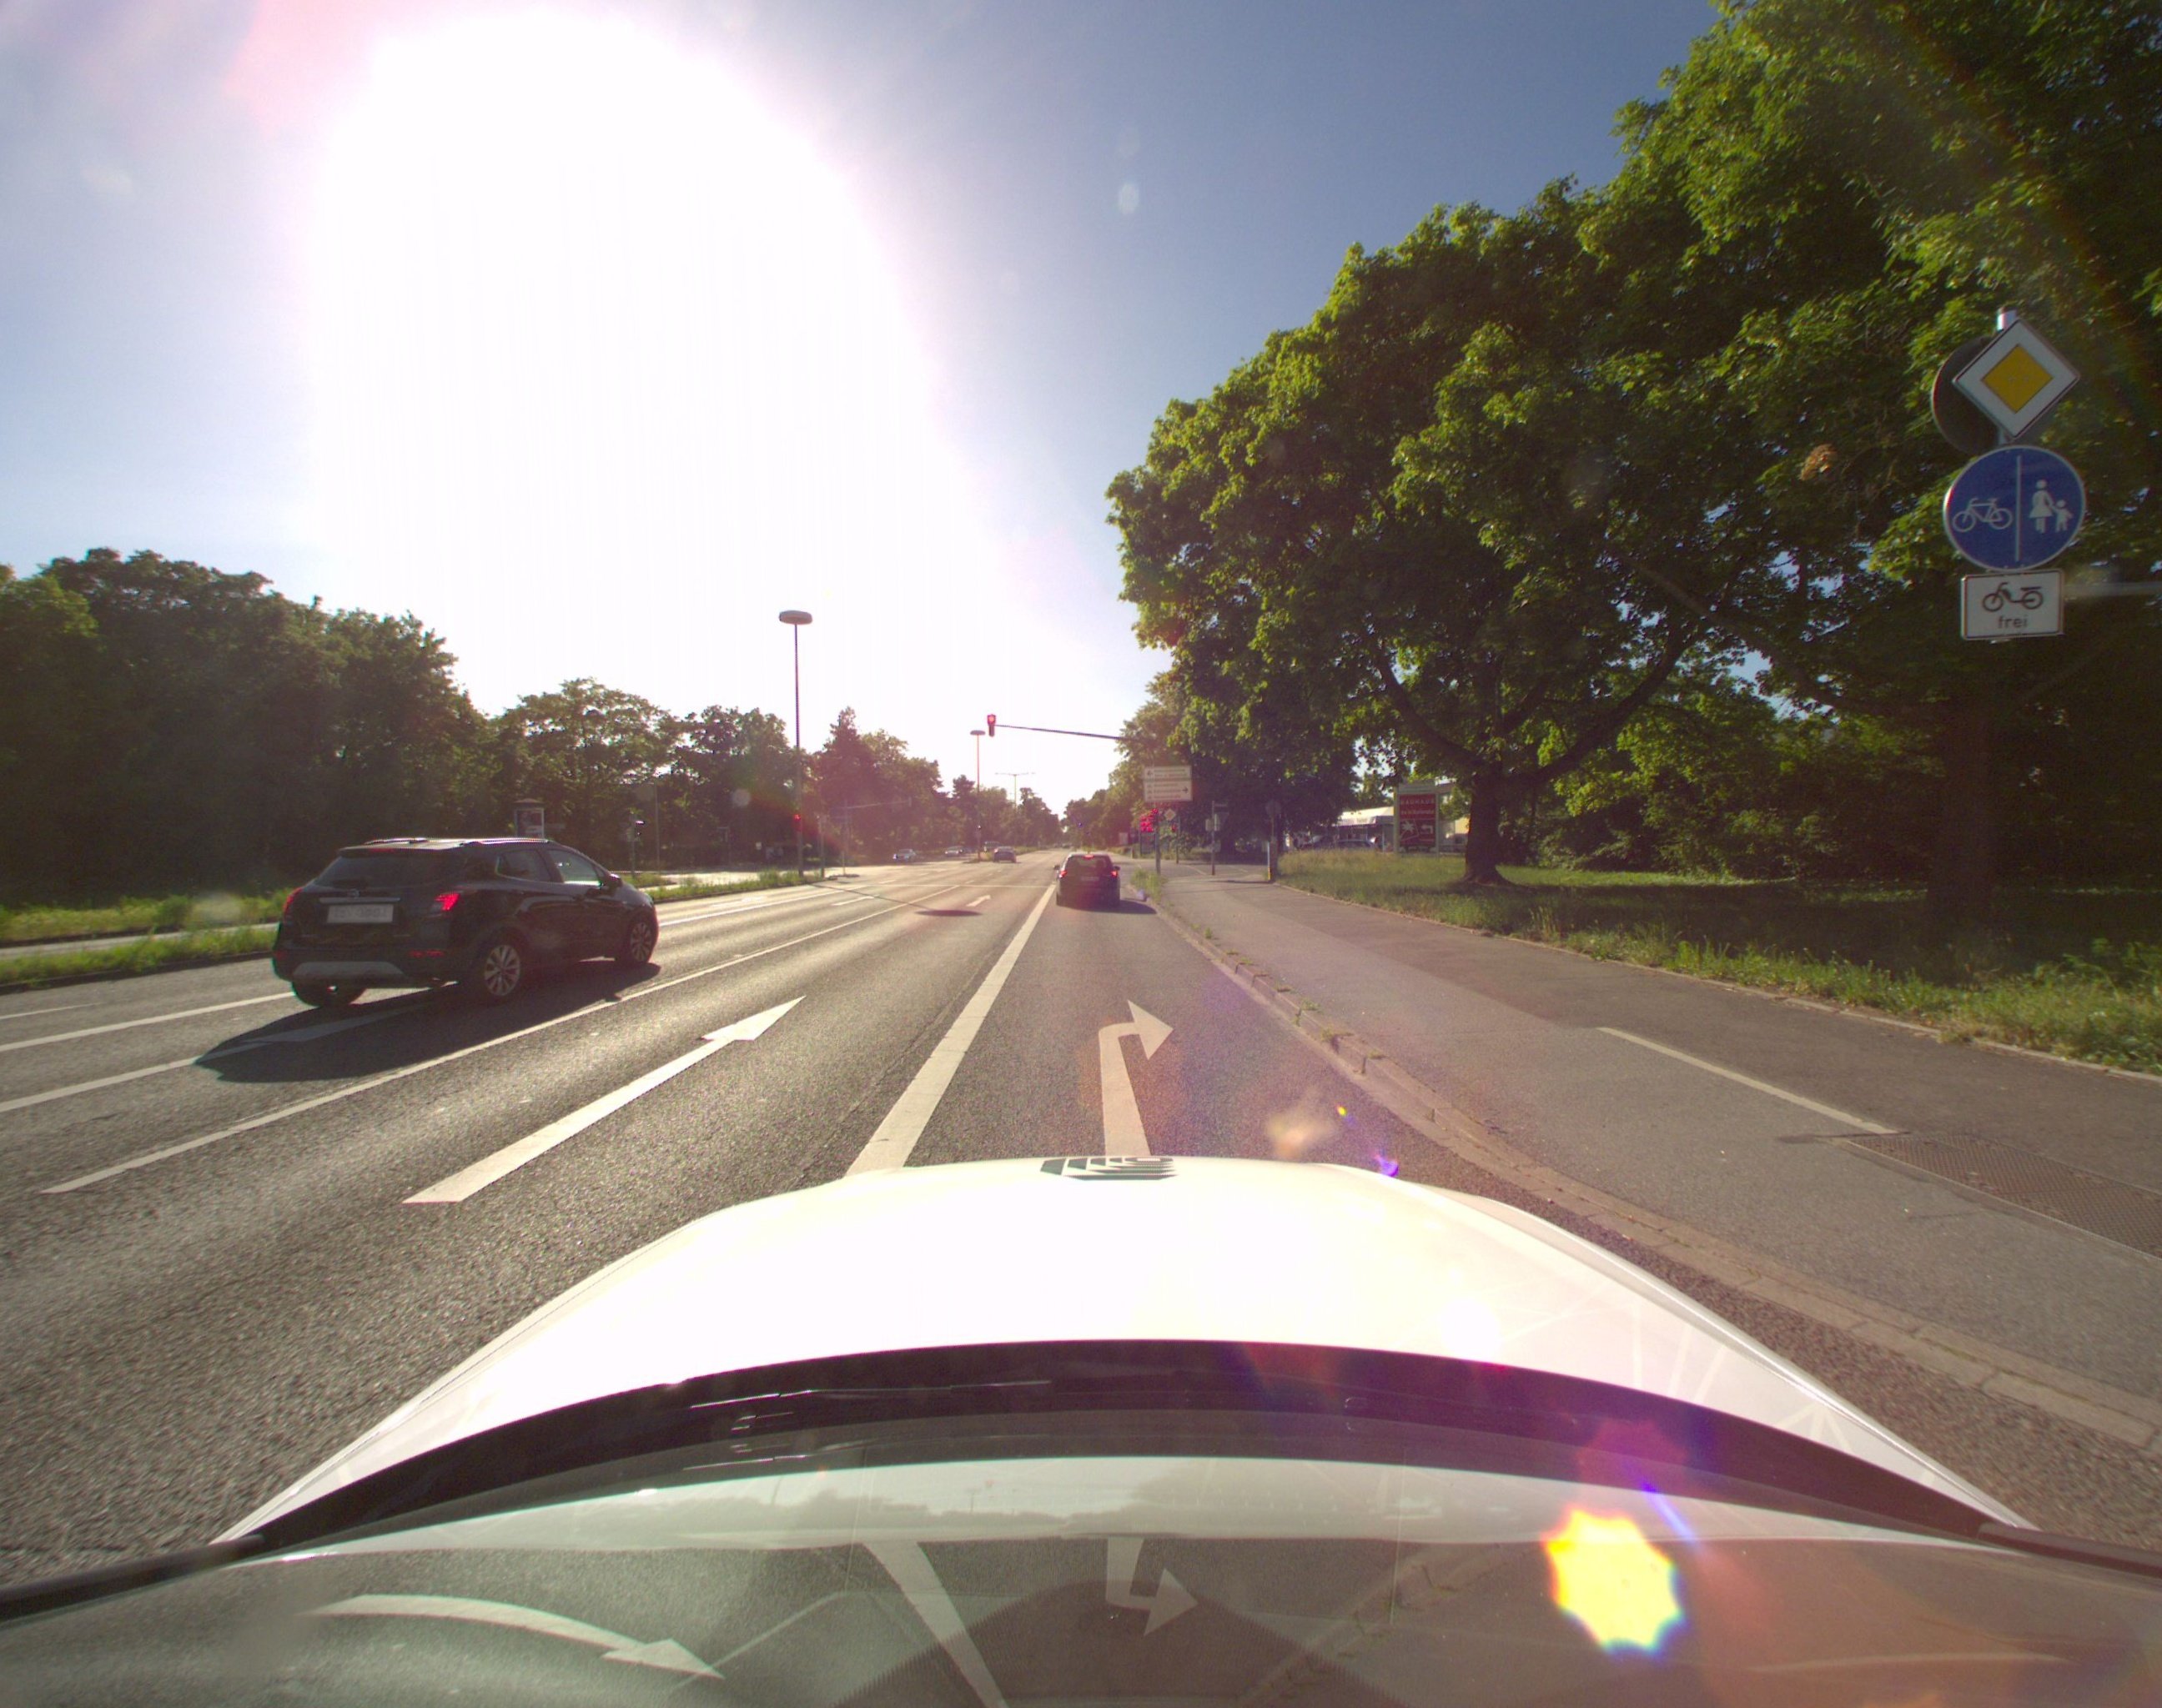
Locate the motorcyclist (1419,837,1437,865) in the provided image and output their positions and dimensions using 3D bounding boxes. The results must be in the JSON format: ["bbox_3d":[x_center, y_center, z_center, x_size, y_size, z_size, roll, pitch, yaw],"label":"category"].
[{"bbox_3d":[21.456,-0.197,50.386,0.854,1.680,0.837,2,-1,16],"label":"motorcyclist"}]

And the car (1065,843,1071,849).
[{"bbox_3d":[-3.740,-2.295,232.147,1.727,1.585,3.839,2,0,0],"label":"car"}]

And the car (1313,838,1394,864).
[{"bbox_3d":[17.042,-0.189,51.156,4.589,1.574,2.006,0,-1,11],"label":"car"}]

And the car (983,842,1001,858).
[{"bbox_3d":[-12.423,-0.556,114.156,1.987,2.014,3.999,2,-1,0],"label":"car"}]

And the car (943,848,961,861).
[{"bbox_3d":[-18.459,0.067,116.288,1.858,1.684,3.999,2,0,0],"label":"car"}]

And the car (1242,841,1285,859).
[{"bbox_3d":[17.786,-0.402,79.365,3.862,1.563,1.787,2,-1,-33],"label":"car"}]

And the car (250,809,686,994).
[{"bbox_3d":[-6.504,0.428,9.435,1.690,1.632,4.417,0,0,0],"label":"car"}]

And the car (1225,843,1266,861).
[{"bbox_3d":[16.474,-0.189,81.710,3.731,1.685,1.689,2,-1,-27],"label":"car"}]

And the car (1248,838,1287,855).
[{"bbox_3d":[20.089,-0.765,87.847,3.703,1.685,1.702,2,-1,-3],"label":"car"}]

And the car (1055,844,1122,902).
[{"bbox_3d":[0.191,0.521,23.431,1.750,1.509,3.807,1,0,0],"label":"car"}]

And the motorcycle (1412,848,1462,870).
[{"bbox_3d":[21.940,0.297,50.249,2.704,1.270,0.837,2,-1,16],"label":"motorcycle"}]

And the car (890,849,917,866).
[{"bbox_3d":[-19.121,0.369,87.936,1.858,1.684,4.259,2,0,0],"label":"car"}]

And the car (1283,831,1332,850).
[{"bbox_3d":[20.132,-1.196,72.364,3.848,1.482,1.793,2,-1,-20],"label":"car"}]

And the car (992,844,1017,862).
[{"bbox_3d":[-6.820,-0.100,73.086,1.883,1.552,3.999,0,0,0],"label":"car"}]

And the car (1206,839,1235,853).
[{"bbox_3d":[19.633,-1.109,114.573,3.703,1.685,1.702,2,-1,-3],"label":"car"}]

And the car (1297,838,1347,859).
[{"bbox_3d":[20.876,-0.441,70.533,3.848,1.612,1.793,2,-1,-20],"label":"car"}]

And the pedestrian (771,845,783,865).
[{"bbox_3d":[-27.818,0.059,74.428,0.842,1.835,0.550,-1,0,3],"label":"pedestrian"}]
